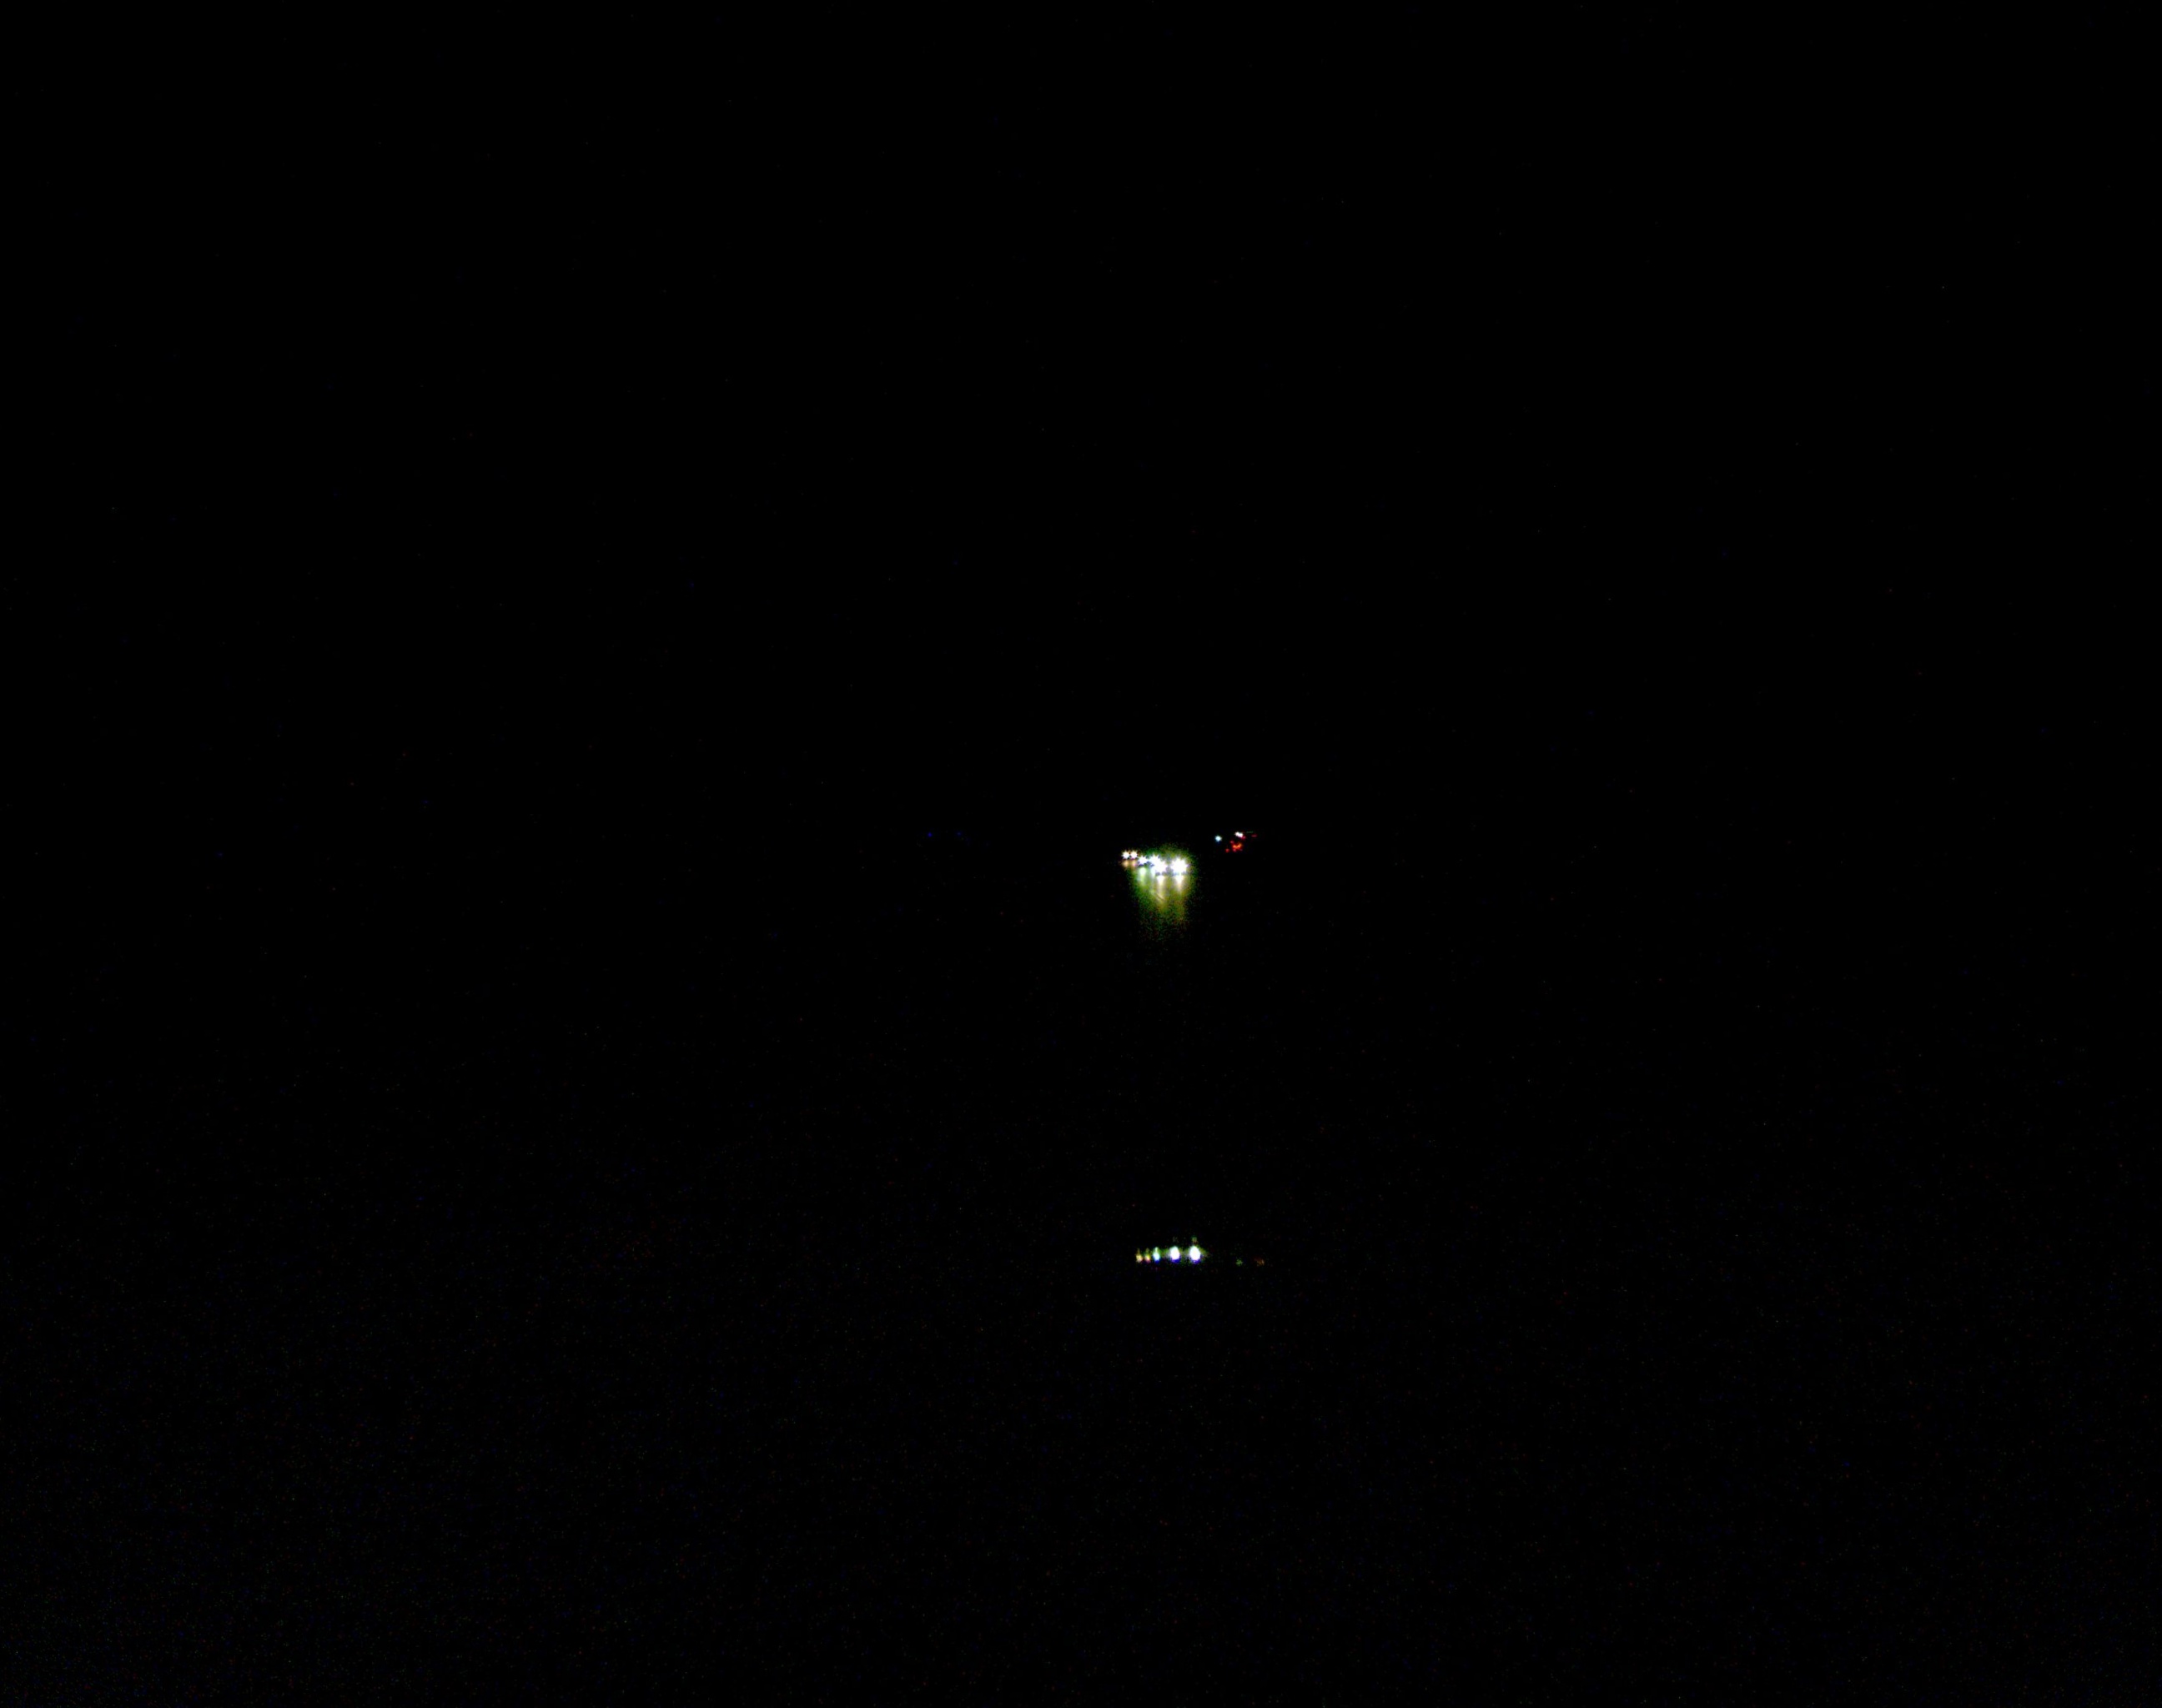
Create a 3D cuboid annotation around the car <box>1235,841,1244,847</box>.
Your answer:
[{"bbox_3d":[52.355,-3.228,250.576,2.402,1.865,4.514,-1,1,7],"label":"car"}]

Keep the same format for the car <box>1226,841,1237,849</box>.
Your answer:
[{"bbox_3d":[34.735,-2.152,175.724,1.998,1.843,4.078,-1,0,6],"label":"car"}]

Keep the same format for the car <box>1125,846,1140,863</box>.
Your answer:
[{"bbox_3d":[10.045,0.132,148.272,2.533,2.889,6.228,-3,2,7],"label":"car"}]

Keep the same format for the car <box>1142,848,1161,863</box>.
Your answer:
[{"bbox_3d":[8.092,0.159,87.827,1.998,1.456,3.999,-3,2,4],"label":"car"}]

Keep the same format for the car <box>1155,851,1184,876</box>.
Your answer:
[{"bbox_3d":[6.197,0.625,52.935,1.832,1.404,4.001,-3,2,8],"label":"car"}]
